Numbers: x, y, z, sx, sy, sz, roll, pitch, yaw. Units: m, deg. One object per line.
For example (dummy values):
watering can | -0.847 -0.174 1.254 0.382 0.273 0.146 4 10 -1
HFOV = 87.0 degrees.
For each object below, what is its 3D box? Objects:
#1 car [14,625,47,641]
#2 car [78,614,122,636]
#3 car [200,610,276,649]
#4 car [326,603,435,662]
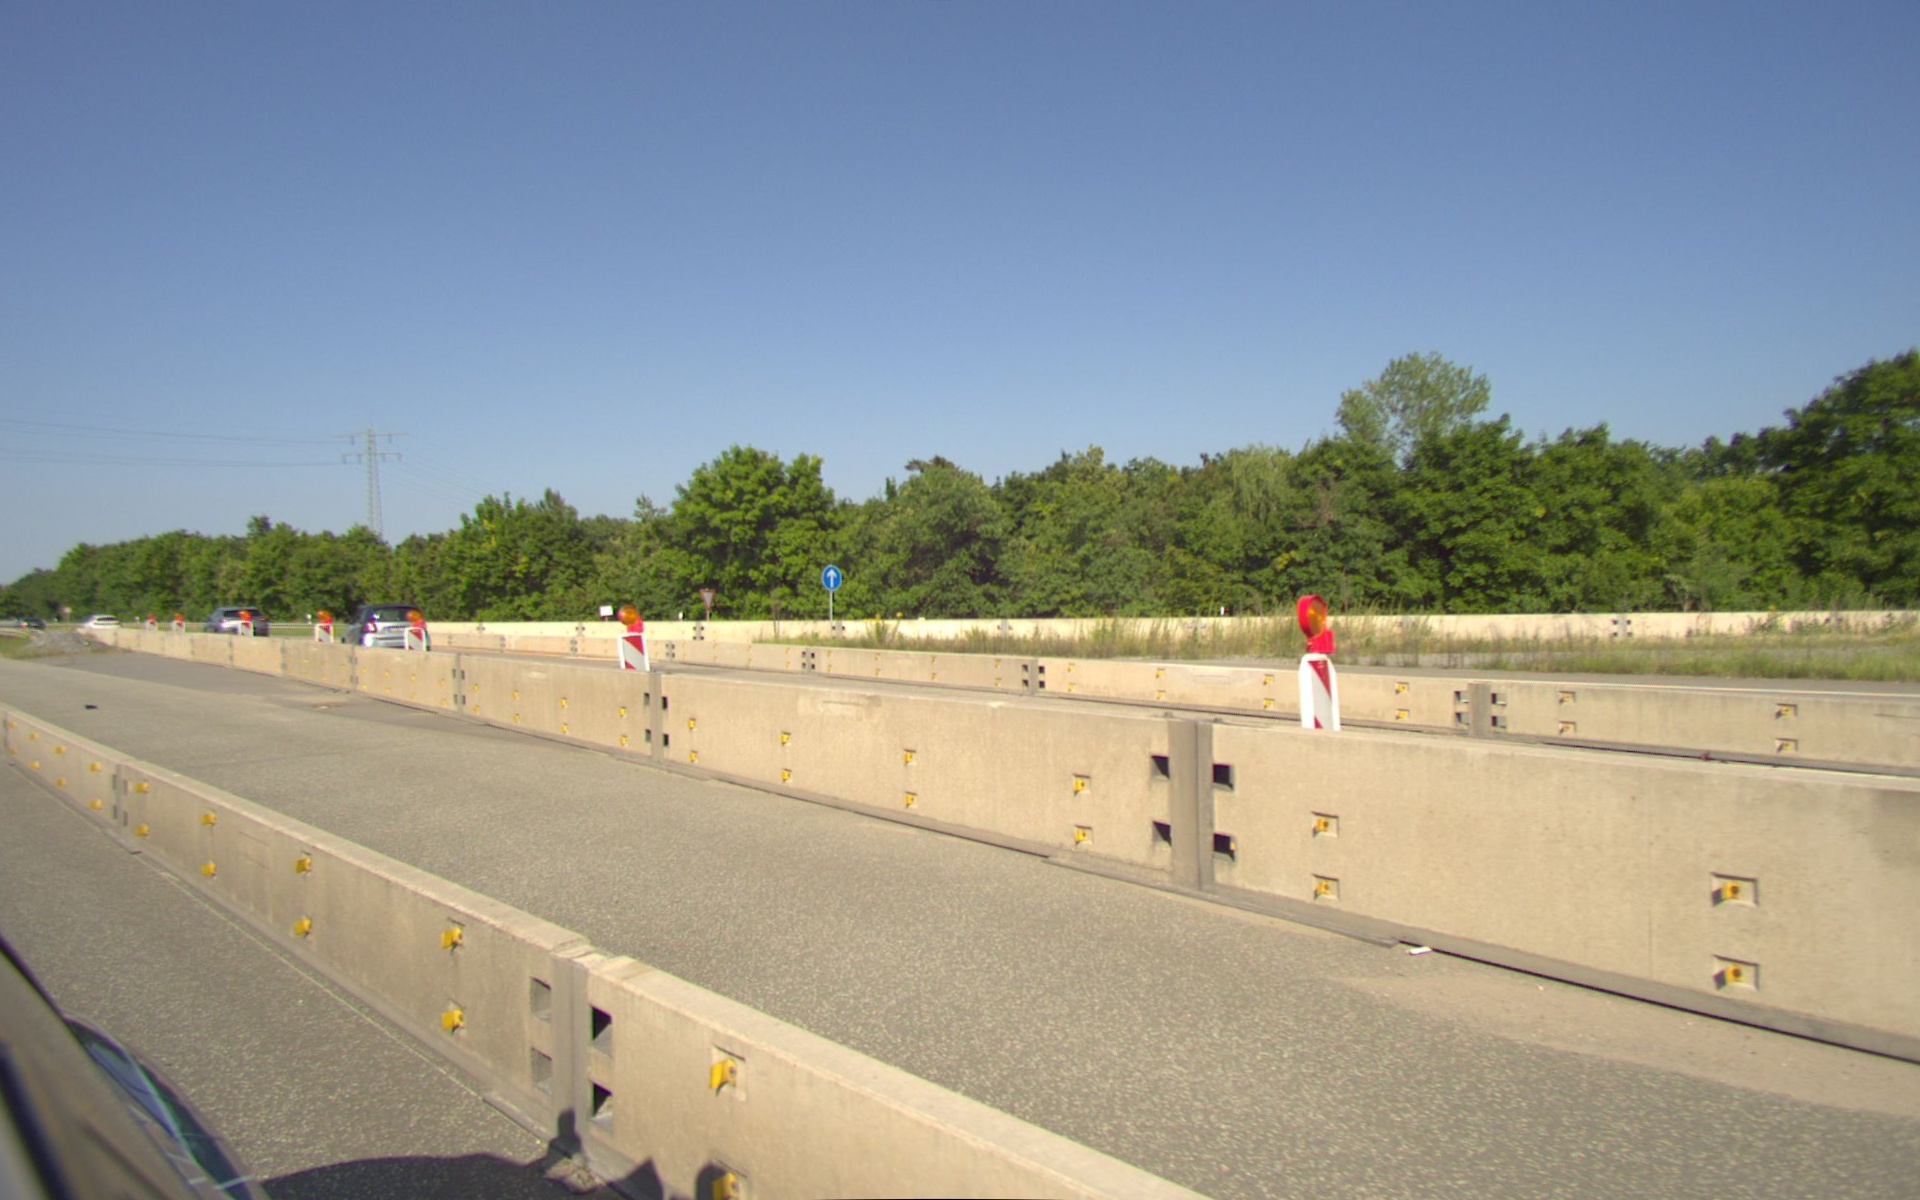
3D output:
car | -86.821 3.083 94.476 4.811 1.451 1.820 -2 -2 42
car | -63.981 1.859 75.250 4.435 1.620 1.799 -2 -1 40
car | -30.904 1.240 43.251 1.970 1.527 4.584 -2 0 -44
car | -16.290 0.883 28.346 1.691 1.527 4.182 -1 -1 -44
